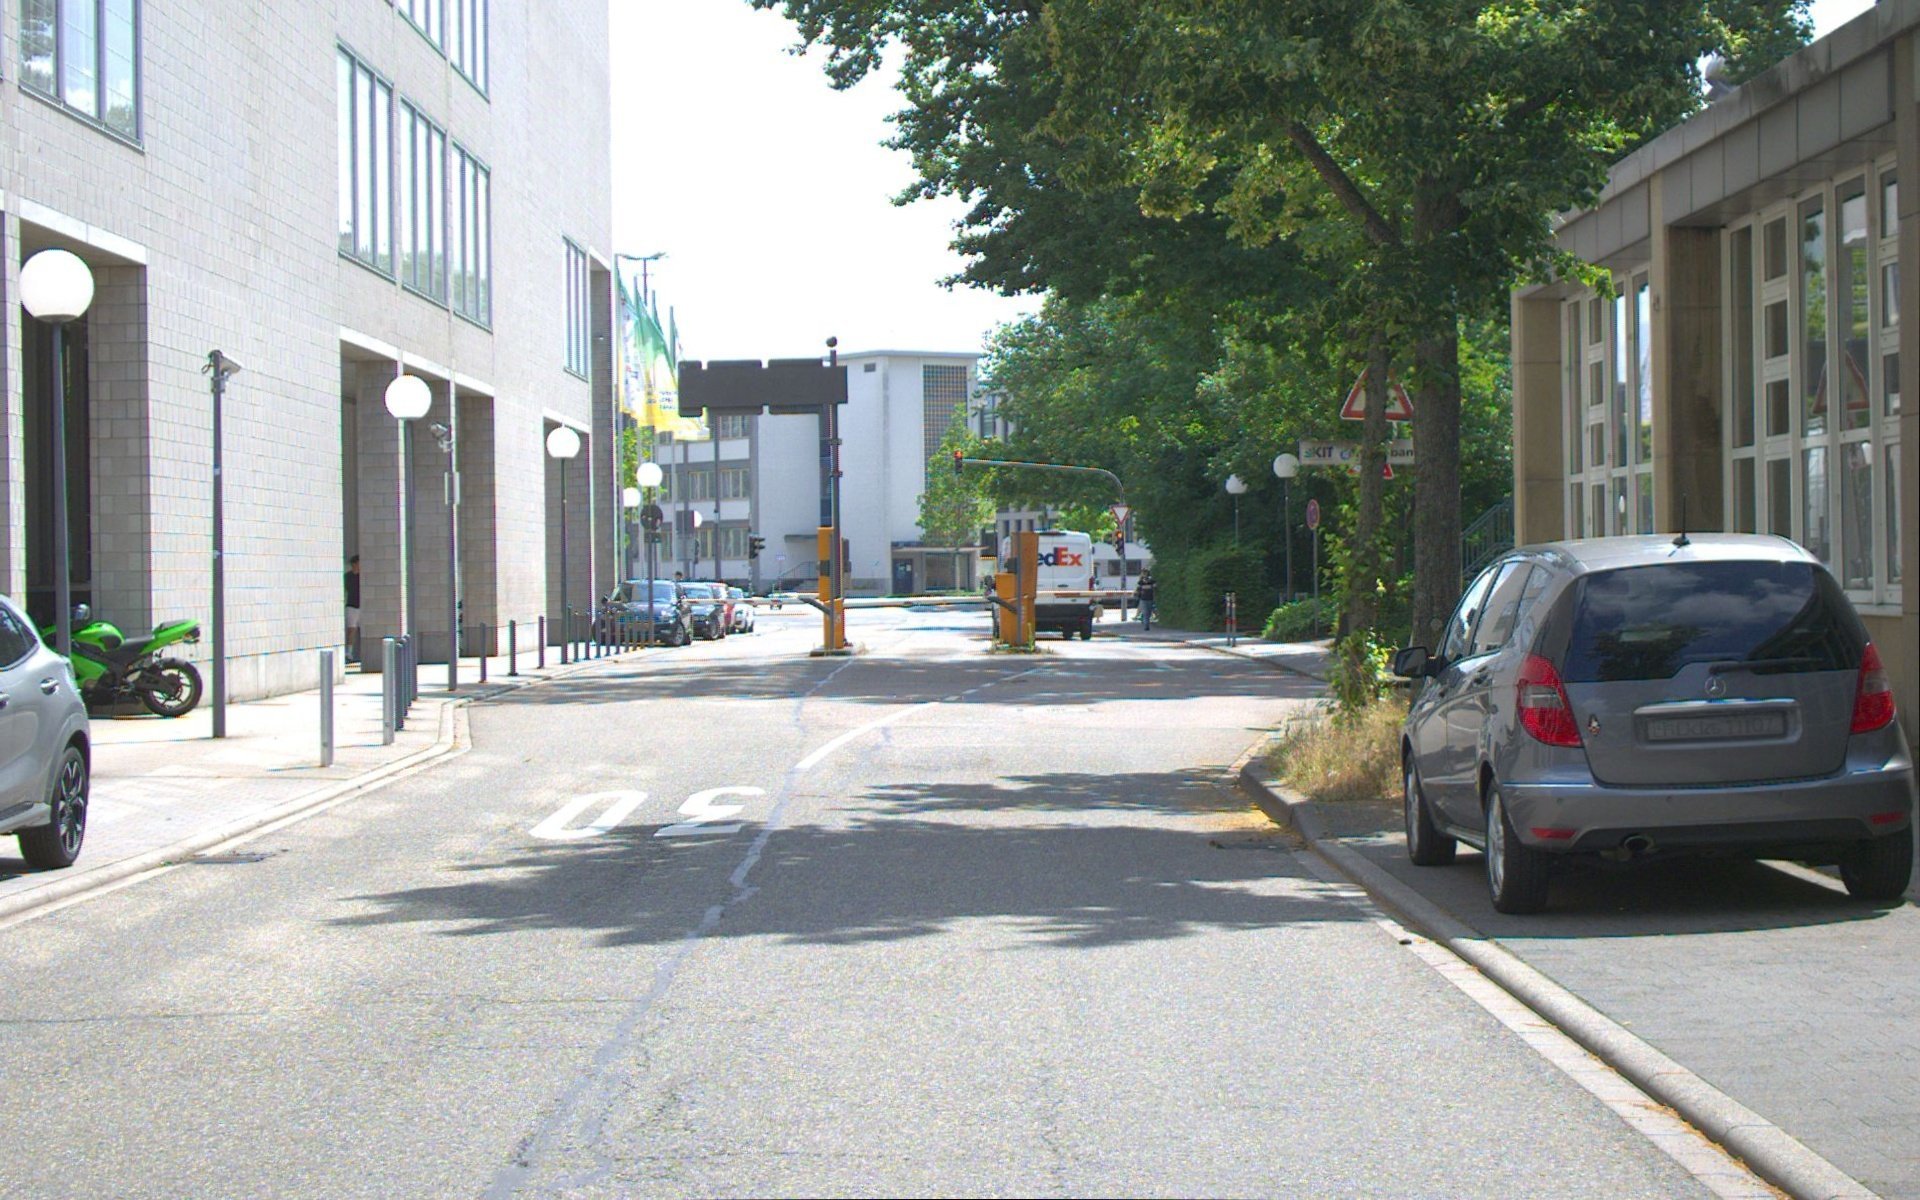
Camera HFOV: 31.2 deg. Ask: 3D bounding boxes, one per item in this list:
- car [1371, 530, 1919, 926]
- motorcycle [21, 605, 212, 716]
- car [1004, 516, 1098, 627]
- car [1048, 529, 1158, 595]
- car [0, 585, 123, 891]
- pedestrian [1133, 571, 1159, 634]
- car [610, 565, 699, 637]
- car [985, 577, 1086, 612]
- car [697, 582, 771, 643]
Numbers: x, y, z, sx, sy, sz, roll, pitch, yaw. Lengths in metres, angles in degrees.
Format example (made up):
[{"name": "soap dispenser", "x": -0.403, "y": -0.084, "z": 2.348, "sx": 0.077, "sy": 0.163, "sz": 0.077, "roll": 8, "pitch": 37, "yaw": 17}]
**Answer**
[{"name": "car", "x": 3.083, "y": 0.507, "z": 16.023, "sx": 1.858, "sy": 1.568, "sz": 4.000, "roll": -2, "pitch": 0, "yaw": 1}, {"name": "motorcycle", "x": -8.715, "y": 0.615, "z": 35.532, "sx": 1.851, "sy": 1.101, "sz": 0.661, "roll": 0, "pitch": 0, "yaw": -20}, {"name": "car", "x": 2.138, "y": -0.685, "z": 81.648, "sx": 2.083, "sy": 2.531, "sz": 4.316, "roll": 1, "pitch": 0, "yaw": 0}, {"name": "car", "x": 5.960, "y": -1.596, "z": 143.519, "sx": 4.372, "sy": 2.730, "sz": 2.000, "roll": 0, "pitch": 0, "yaw": -4}, {"name": "car", "x": -5.450, "y": 0.667, "z": 16.859, "sx": 1.631, "sy": 1.480, "sz": 4.178, "roll": 0, "pitch": 0, "yaw": 1}, {"name": "pedestrian", "x": 5.087, "y": 0.060, "z": 93.883, "sx": 0.660, "sy": 1.723, "sz": 0.635, "roll": 0, "pitch": 0, "yaw": -1}, {"name": "car", "x": -6.799, "y": 0.045, "z": 76.754, "sx": 1.646, "sy": 1.493, "sz": 3.728, "roll": -1, "pitch": -1, "yaw": 0}, {"name": "car", "x": 2.822, "y": -0.208, "z": 128.644, "sx": 3.730, "sy": 1.325, "sz": 1.667, "roll": 0, "pitch": 0, "yaw": 3}, {"name": "car", "x": -5.802, "y": 0.336, "z": 88.657, "sx": 1.646, "sy": 1.493, "sz": 3.728, "roll": -1, "pitch": -1, "yaw": 0}]
